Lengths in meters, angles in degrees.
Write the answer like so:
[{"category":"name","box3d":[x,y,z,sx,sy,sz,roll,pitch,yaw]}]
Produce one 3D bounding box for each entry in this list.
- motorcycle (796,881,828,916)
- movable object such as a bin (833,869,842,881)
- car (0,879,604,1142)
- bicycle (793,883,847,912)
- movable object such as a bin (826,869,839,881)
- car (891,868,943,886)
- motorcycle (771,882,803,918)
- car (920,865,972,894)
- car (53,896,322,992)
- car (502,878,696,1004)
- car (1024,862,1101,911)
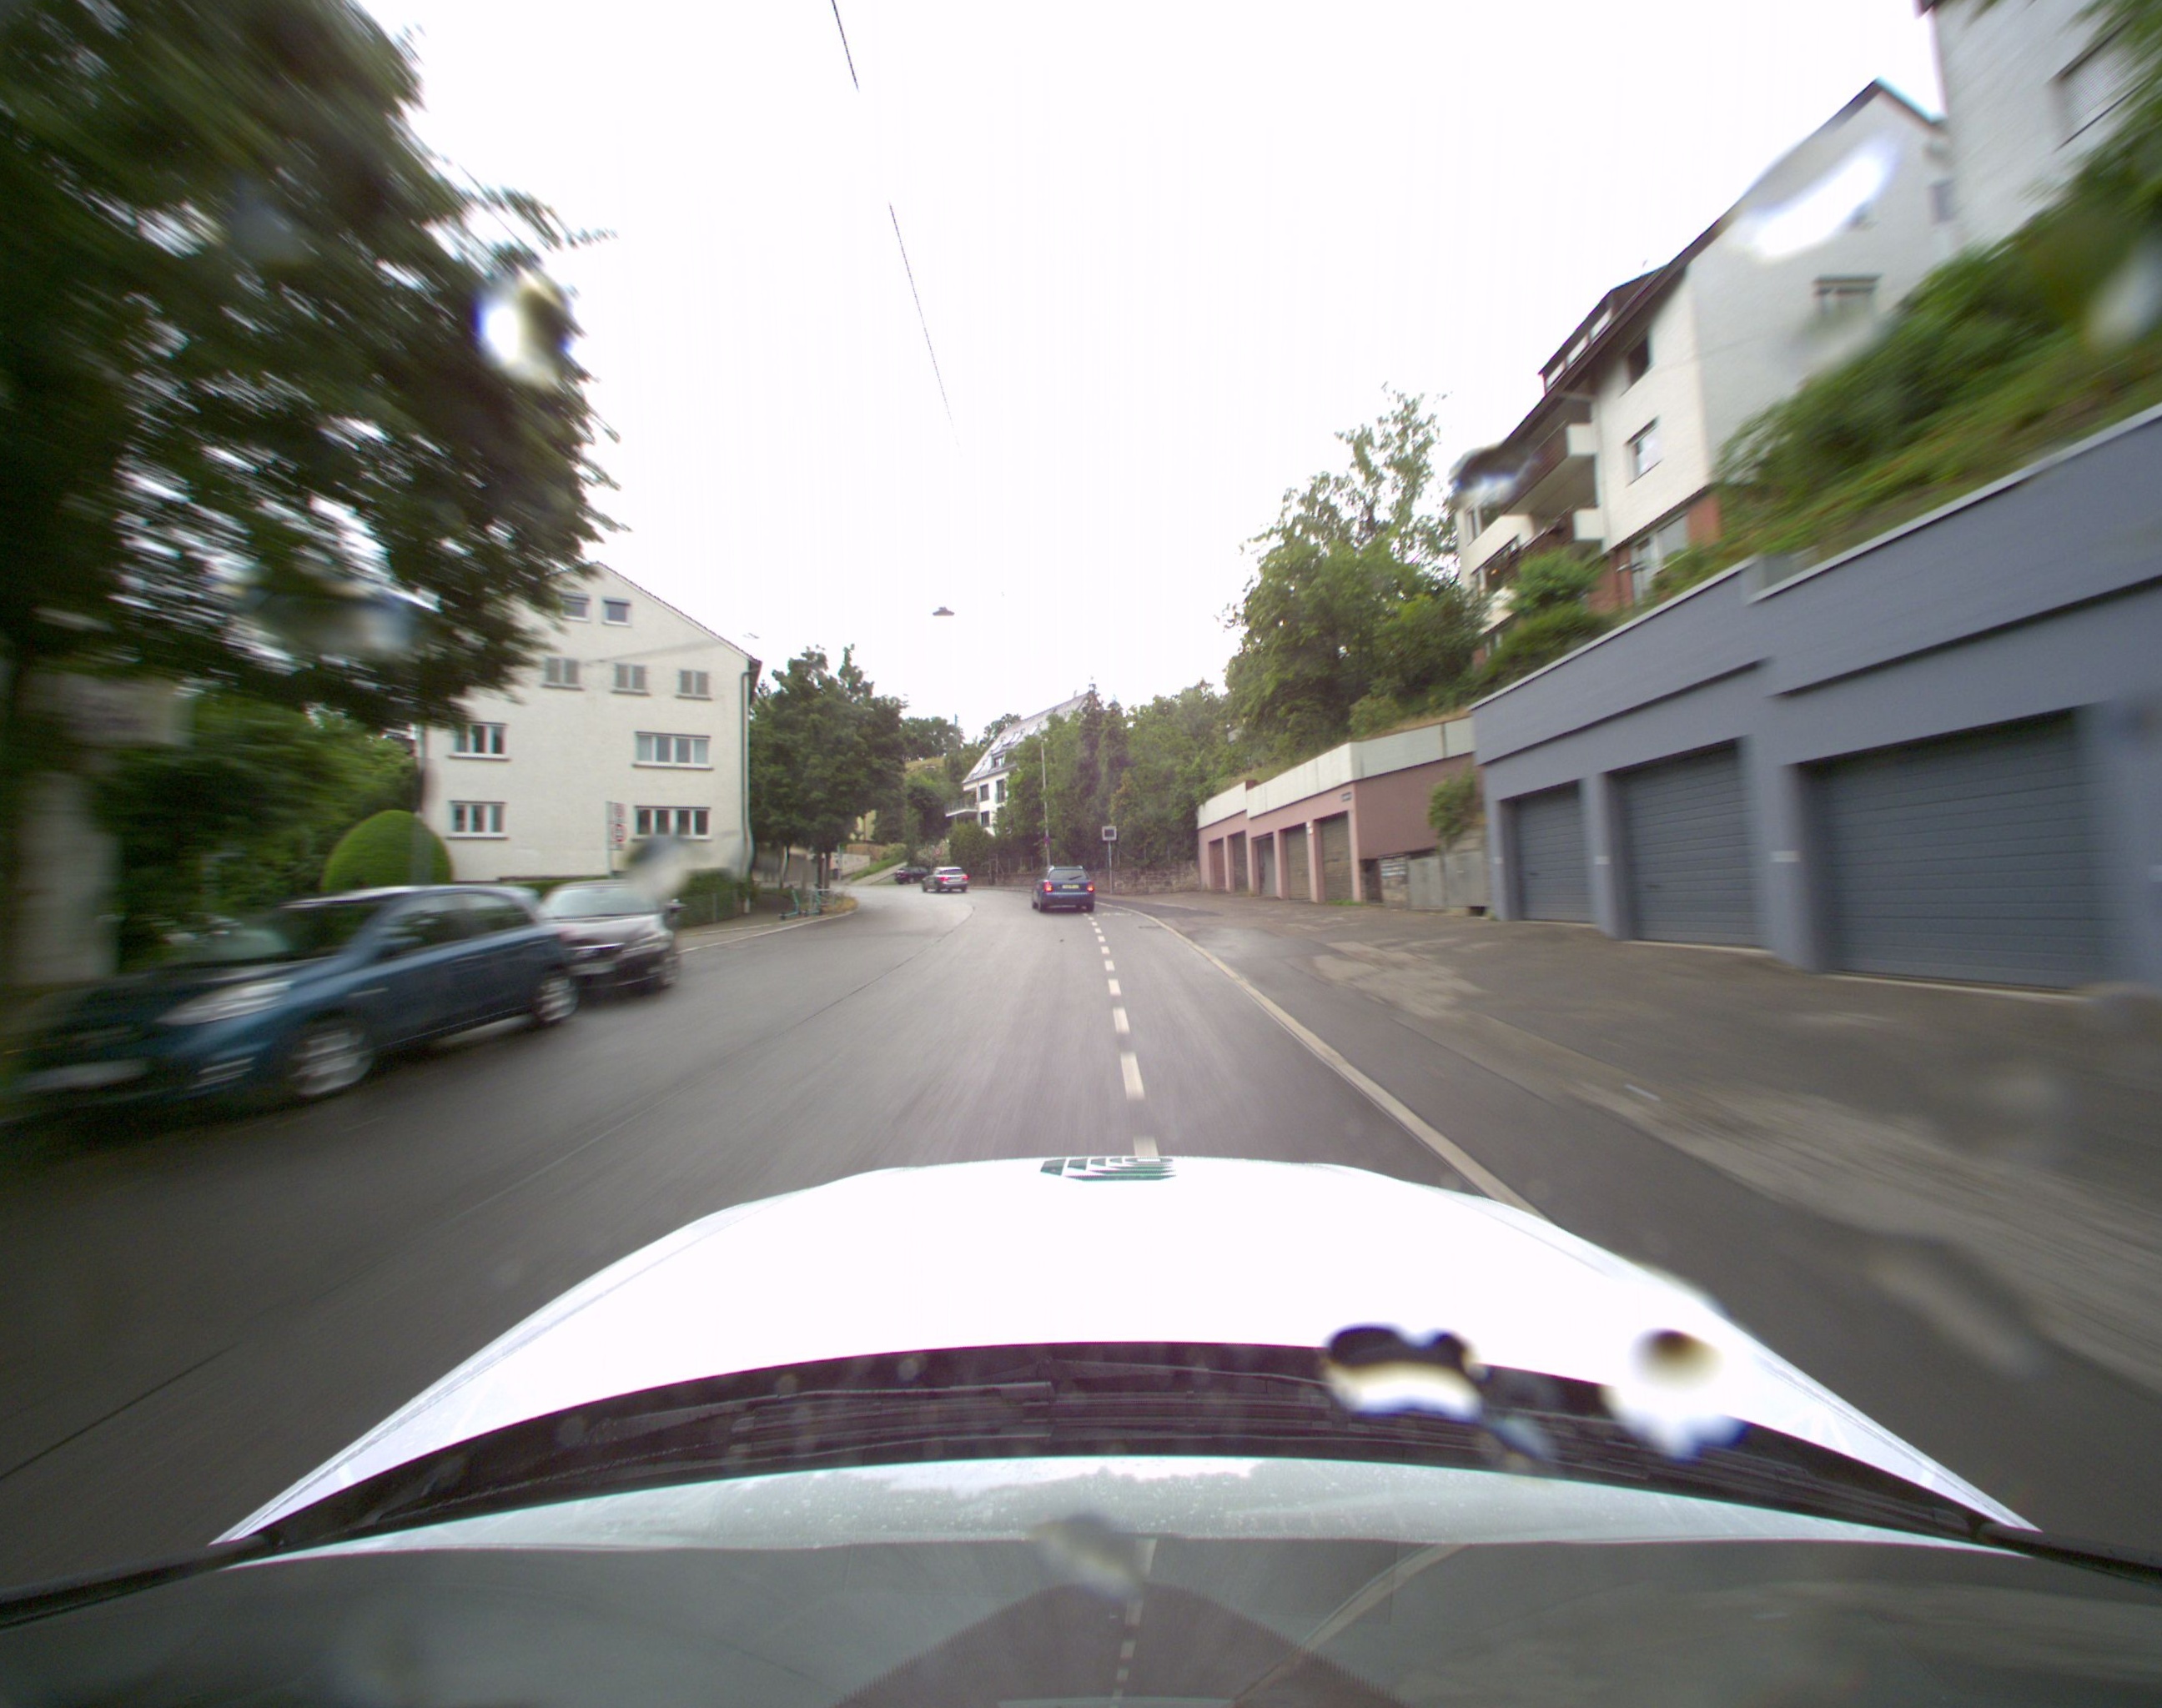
[{"category":"motorcycle","box3d":[-9.856,1.629,29.883,0.554,1.203,1.400,-2,0,5]},{"category":"movable object such as a bin","box3d":[-24.112,2.097,80.678,0.574,1.223,0.708,-1,-1,26]},{"category":"car","box3d":[-6.125,1.030,6.981,1.706,1.462,3.882,0,1,1]},{"category":"bicycle","box3d":[-10.400,1.716,32.416,1.972,1.060,0.748,-1,-1,-24]},{"category":"movable object such as a bin","box3d":[-24.718,2.097,81.023,0.777,1.185,0.867,-1,-1,26]},{"category":"car","box3d":[-14.244,1.982,70.795,1.718,1.508,4.208,-2,-1,40]},{"category":"motorcycle","box3d":[-10.499,1.633,29.118,0.550,1.228,1.307,-2,0,5]},{"category":"car","box3d":[-7.985,1.473,48.017,1.959,1.561,4.229,2,-1,-24]},{"category":"car","box3d":[-18.947,1.880,17.349,4.065,1.517,2.006,-7,-3,11]},{"category":"car","box3d":[-6.683,1.071,11.707,2.004,1.391,4.161,-1,-1,-26]},{"category":"car","box3d":[-0.694,1.000,26.876,1.854,1.414,4.345,-1,0,-11]}]
